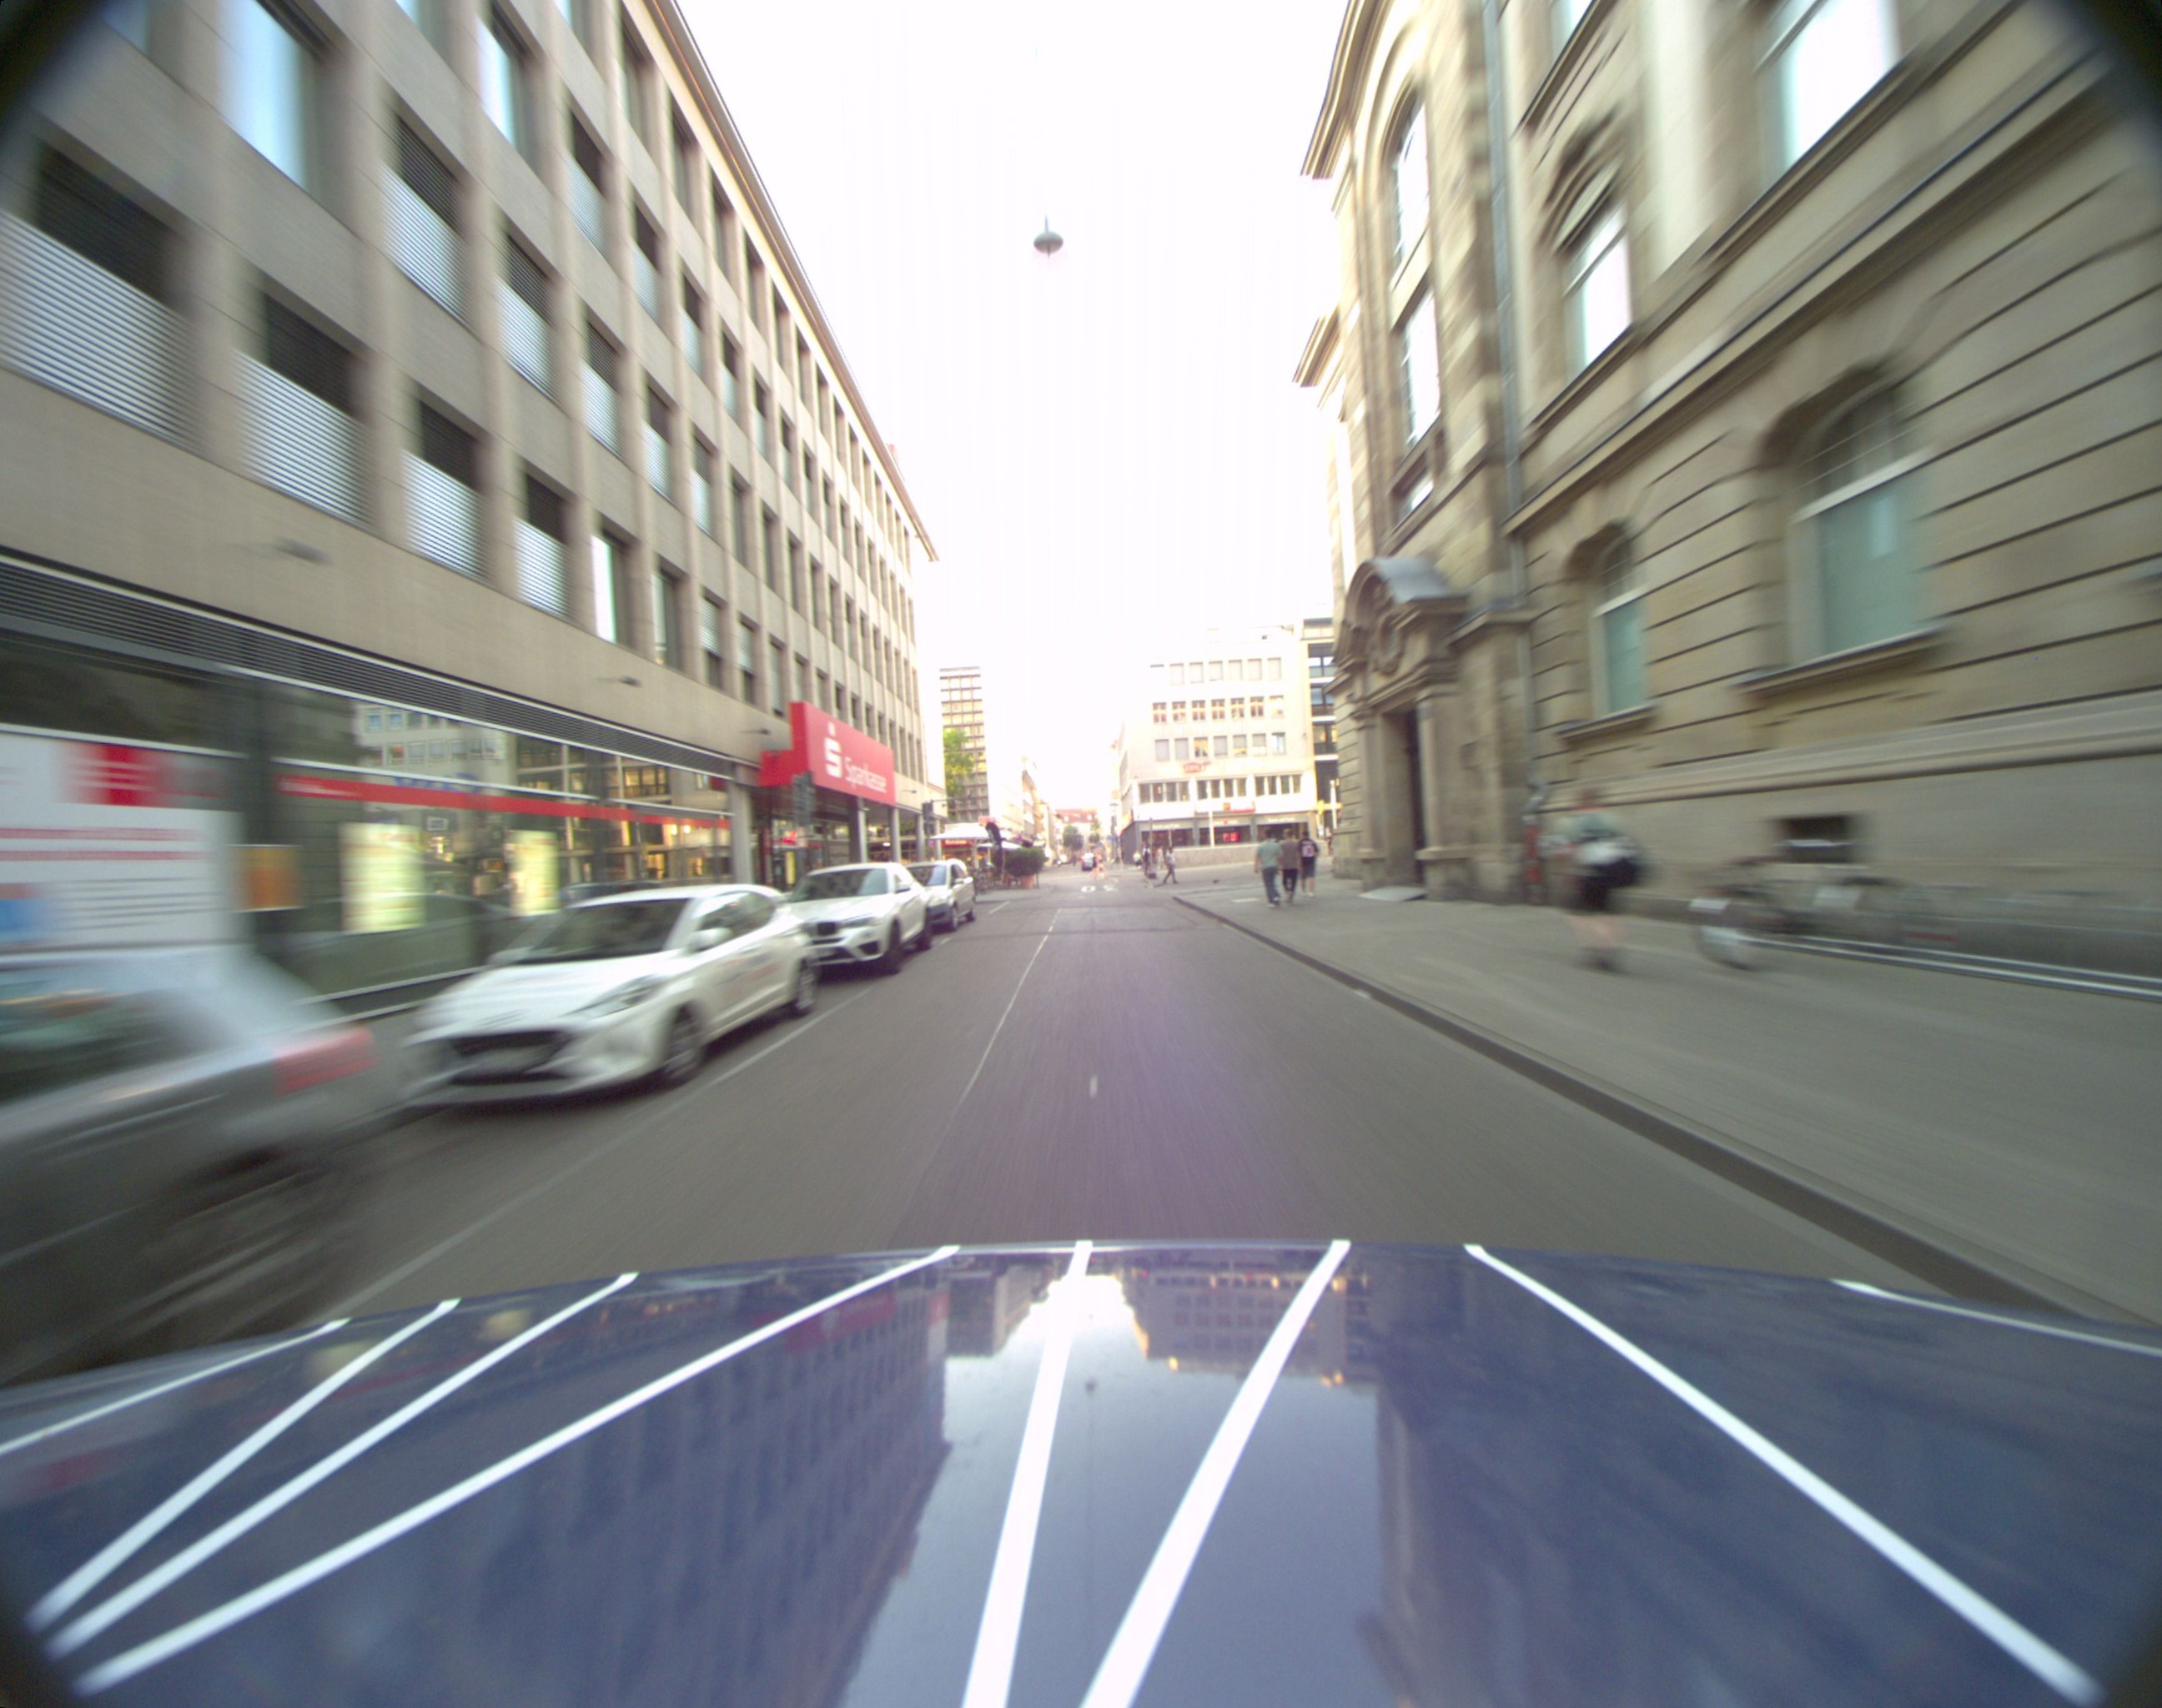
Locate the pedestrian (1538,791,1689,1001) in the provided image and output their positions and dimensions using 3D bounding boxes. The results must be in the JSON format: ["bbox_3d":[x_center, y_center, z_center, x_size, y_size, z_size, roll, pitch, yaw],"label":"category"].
[{"bbox_3d":[4.854,0.361,6.981,0.719,1.770,0.800,-4,1,1],"label":"pedestrian"}]

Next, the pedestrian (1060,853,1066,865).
[{"bbox_3d":[-2.491,0.636,105.958,0.650,1.651,0.650,-2,1,-4],"label":"pedestrian"}]

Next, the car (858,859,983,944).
[{"bbox_3d":[-3.598,0.991,17.962,1.744,1.589,4.714,-5,0,1],"label":"car"}]

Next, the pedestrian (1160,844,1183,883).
[{"bbox_3d":[3.930,0.418,33.073,0.742,1.649,0.754,-2,1,24],"label":"pedestrian"}]

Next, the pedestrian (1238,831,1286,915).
[{"bbox_3d":[3.992,0.411,16.840,0.727,1.732,0.839,-6,1,3],"label":"pedestrian"}]

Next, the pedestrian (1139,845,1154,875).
[{"bbox_3d":[3.755,0.354,43.696,0.732,1.679,0.746,-2,0,3],"label":"pedestrian"}]

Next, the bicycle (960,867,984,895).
[{"bbox_3d":[-4.433,1.089,31.081,0.383,1.027,1.865,-2,0,9],"label":"bicycle"}]

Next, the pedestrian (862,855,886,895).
[{"bbox_3d":[-9.246,0.925,33.921,0.799,1.751,0.687,-2,1,-2],"label":"pedestrian"}]

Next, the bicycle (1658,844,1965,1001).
[{"bbox_3d":[6.271,0.549,6.572,2.024,1.102,0.730,-5,1,-6],"label":"bicycle"}]

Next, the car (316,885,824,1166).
[{"bbox_3d":[-3.830,1.150,6.657,1.661,1.439,3.869,-4,1,1],"label":"car"}]

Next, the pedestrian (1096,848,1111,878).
[{"bbox_3d":[1.296,0.527,43.414,0.795,1.679,0.769,-2,0,3],"label":"pedestrian"}]

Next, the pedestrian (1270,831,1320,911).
[{"bbox_3d":[4.731,0.359,16.843,0.731,1.658,0.858,-6,1,3],"label":"pedestrian"}]

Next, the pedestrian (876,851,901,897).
[{"bbox_3d":[-8.276,0.856,32.663,0.799,1.907,0.687,-2,1,-1],"label":"pedestrian"}]

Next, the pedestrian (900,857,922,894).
[{"bbox_3d":[-8.191,1.036,36.594,0.801,1.751,0.686,-3,1,-26],"label":"pedestrian"}]

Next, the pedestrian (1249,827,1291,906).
[{"bbox_3d":[4.608,0.295,18.593,0.718,1.819,0.870,-6,1,8],"label":"pedestrian"}]

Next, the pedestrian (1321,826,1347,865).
[{"bbox_3d":[11.983,-0.411,35.974,0.862,1.751,0.745,-5,1,1],"label":"pedestrian"}]

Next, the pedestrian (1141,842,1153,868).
[{"bbox_3d":[5.106,0.071,58.428,0.783,1.882,0.642,-3,1,0],"label":"pedestrian"}]

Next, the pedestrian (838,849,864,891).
[{"bbox_3d":[-9.874,0.688,32.656,0.799,1.751,0.687,-2,1,0],"label":"pedestrian"}]

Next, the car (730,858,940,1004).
[{"bbox_3d":[-3.586,0.997,12.137,1.781,1.656,4.812,-4,1,-2],"label":"car"}]

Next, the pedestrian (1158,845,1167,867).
[{"bbox_3d":[6.370,0.159,59.756,0.545,1.698,0.558,-4,1,1],"label":"pedestrian"}]

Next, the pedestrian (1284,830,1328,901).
[{"bbox_3d":[5.493,0.275,18.578,0.757,1.632,0.749,-6,1,8],"label":"pedestrian"}]

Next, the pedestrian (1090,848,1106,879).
[{"bbox_3d":[0.963,0.520,42.669,0.795,1.679,0.769,-2,0,3],"label":"pedestrian"}]

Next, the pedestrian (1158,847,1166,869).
[{"bbox_3d":[6.459,0.317,60.638,0.545,1.698,0.558,-4,1,1],"label":"pedestrian"}]

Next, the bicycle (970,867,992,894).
[{"bbox_3d":[-4.088,1.052,31.029,0.330,1.027,1.865,-2,0,9],"label":"bicycle"}]

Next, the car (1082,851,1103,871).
[{"bbox_3d":[1.070,0.631,71.420,1.824,1.728,4.000,-2,0,0],"label":"car"}]

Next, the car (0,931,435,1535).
[{"bbox_3d":[-3.704,1.141,1.107,1.661,1.439,4.444,-4,1,-1],"label":"car"}]

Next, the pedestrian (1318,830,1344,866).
[{"bbox_3d":[11.549,-0.279,35.103,0.865,1.581,0.738,-5,1,1],"label":"pedestrian"}]

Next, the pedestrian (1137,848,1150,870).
[{"bbox_3d":[4.500,0.349,54.500,0.676,1.532,0.641,-3,1,-20],"label":"pedestrian"}]

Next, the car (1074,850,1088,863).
[{"bbox_3d":[0.054,0.348,106.466,1.798,1.705,4.000,-2,0,2],"label":"car"}]

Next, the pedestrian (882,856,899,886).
[{"bbox_3d":[-10.903,0.985,43.420,0.796,1.679,0.769,-3,0,-8],"label":"pedestrian"}]

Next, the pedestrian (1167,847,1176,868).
[{"bbox_3d":[7.298,0.281,61.175,0.545,1.698,0.558,-4,1,1],"label":"pedestrian"}]
